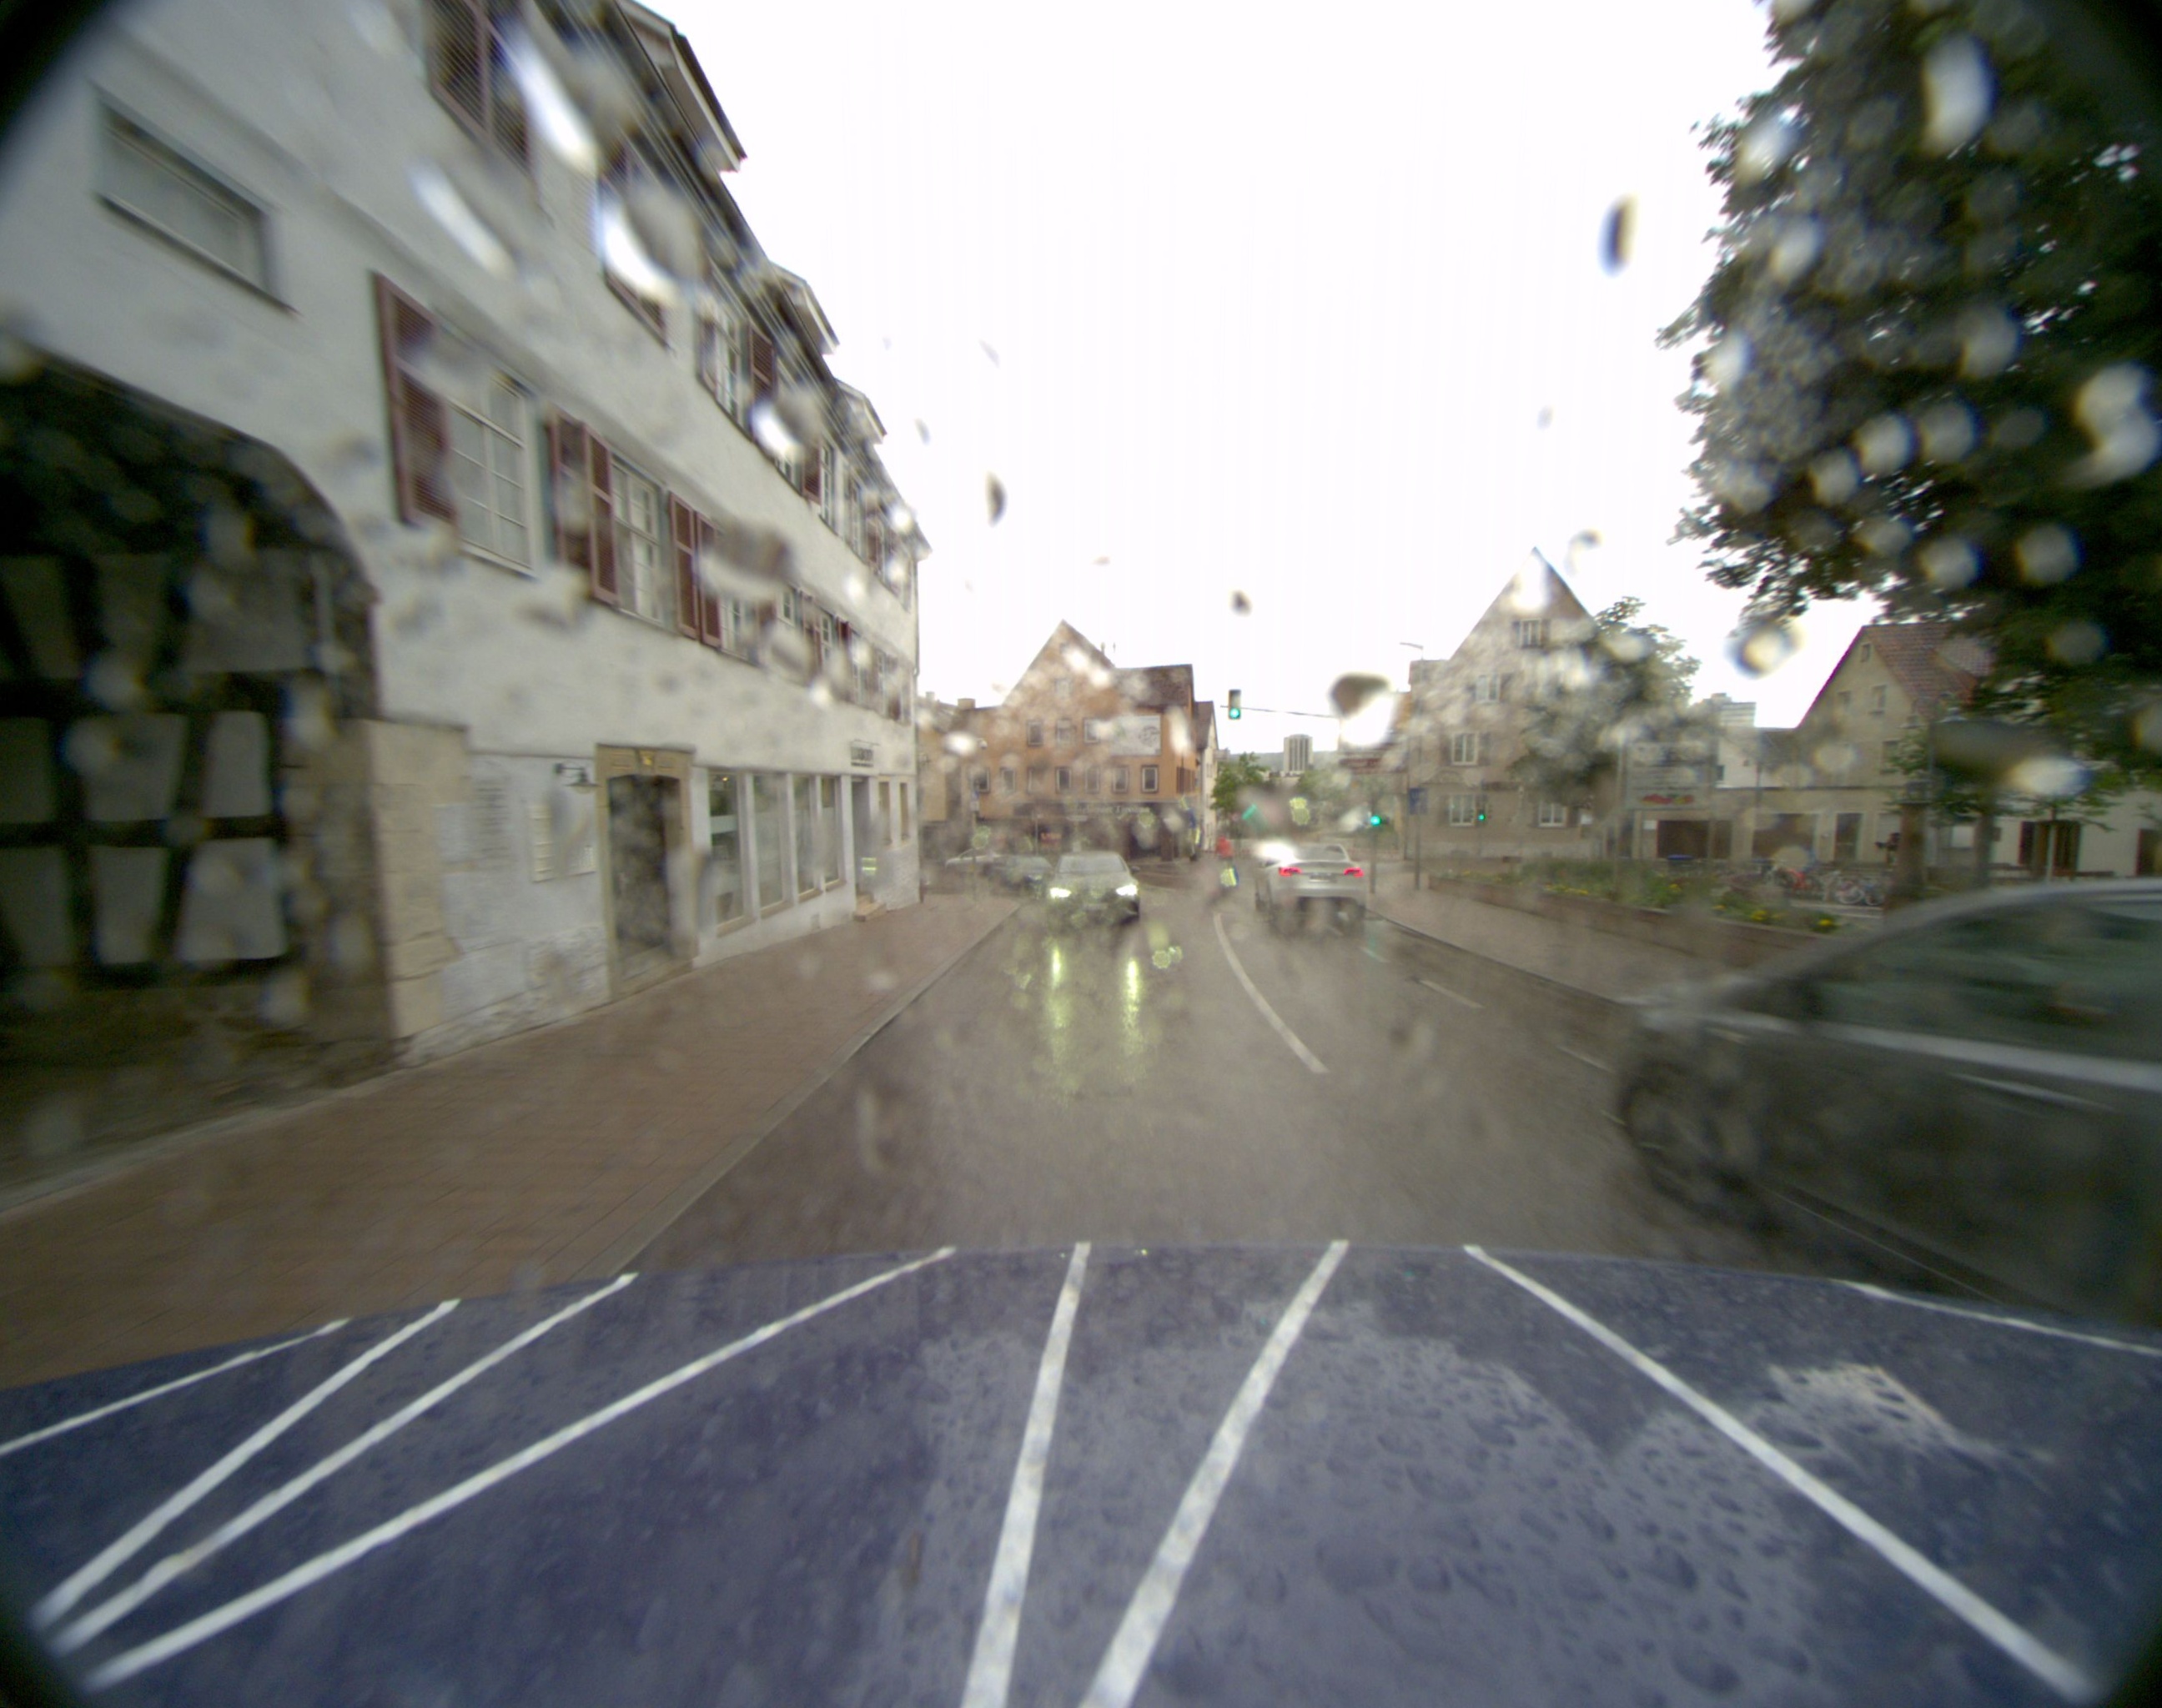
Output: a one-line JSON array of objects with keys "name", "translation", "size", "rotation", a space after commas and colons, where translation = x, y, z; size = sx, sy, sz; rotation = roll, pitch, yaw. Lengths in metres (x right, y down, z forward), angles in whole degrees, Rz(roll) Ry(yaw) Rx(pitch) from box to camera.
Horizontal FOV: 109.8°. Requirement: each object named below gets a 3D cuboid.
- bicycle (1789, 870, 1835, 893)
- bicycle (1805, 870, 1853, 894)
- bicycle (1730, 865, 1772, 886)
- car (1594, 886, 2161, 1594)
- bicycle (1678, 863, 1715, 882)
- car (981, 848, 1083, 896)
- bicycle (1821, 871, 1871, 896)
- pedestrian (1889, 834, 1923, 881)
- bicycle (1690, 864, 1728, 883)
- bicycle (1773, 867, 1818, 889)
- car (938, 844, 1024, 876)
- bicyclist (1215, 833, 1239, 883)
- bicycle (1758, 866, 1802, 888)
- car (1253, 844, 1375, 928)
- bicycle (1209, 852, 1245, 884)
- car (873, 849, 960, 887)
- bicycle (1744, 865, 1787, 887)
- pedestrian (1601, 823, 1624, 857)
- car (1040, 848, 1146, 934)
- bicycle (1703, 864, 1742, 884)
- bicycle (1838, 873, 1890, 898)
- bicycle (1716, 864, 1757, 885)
[{"name": "bicycle", "translation": [19.725, 0.736, 20.507], "size": [0.853, 0.602, 0.407], "rotation": [0, 1, 1]}, {"name": "bicycle", "translation": [19.704, 0.746, 20.017], "size": [0.853, 0.602, 0.407], "rotation": [0, 1, 1]}, {"name": "bicycle", "translation": [19.705, 0.631, 22.344], "size": [0.853, 0.602, 0.407], "rotation": [0, 1, 1]}, {"name": "car", "translation": [3.212, 0.909, 1.848], "size": [1.612, 1.463, 3.586], "rotation": [0, 1, 3]}, {"name": "bicycle", "translation": [19.679, 0.593, 24.301], "size": [0.853, 0.602, 0.407], "rotation": [0, 1, 1]}, {"name": "car", "translation": [-1.869, 0.623, 27.595], "size": [1.972, 1.598, 4.373], "rotation": [-1, 0, -29]}, {"name": "bicycle", "translation": [19.651, 0.757, 19.526], "size": [0.853, 0.602, 0.407], "rotation": [0, 1, 1]}, {"name": "pedestrian", "translation": [35.348, 0.128, 32.572], "size": [0.675, 2.002, 0.707], "rotation": [0, 2, 14]}, {"name": "bicycle", "translation": [19.672, 0.608, 23.796], "size": [0.853, 0.602, 0.407], "rotation": [0, 1, 1]}, {"name": "bicycle", "translation": [19.719, 0.661, 20.972], "size": [0.853, 0.602, 0.407], "rotation": [0, 1, 1]}, {"name": "car", "translation": [-5.417, 0.280, 41.052], "size": [4.370, 1.598, 1.973], "rotation": [1, 2, 33]}, {"name": "bicyclist", "translation": [5.715, 0.139, 29.709], "size": [0.691, 1.923, 0.569], "rotation": [-3, 2, -8]}, {"name": "bicycle", "translation": [19.688, 0.645, 21.413], "size": [0.853, 0.602, 0.407], "rotation": [0, 1, 1]}, {"name": "car", "translation": [5.004, 0.588, 16.936], "size": [1.966, 1.598, 4.385], "rotation": [1, 1, 9]}, {"name": "bicycle", "translation": [5.716, 0.515, 29.848], "size": [0.666, 1.174, 2.134], "rotation": [-3, 1, -10]}, {"name": "car", "translation": [-7.742, 0.607, 35.490], "size": [1.972, 1.598, 4.370], "rotation": [-2, 1, -43]}, {"name": "bicycle", "translation": [19.697, 0.640, 21.879], "size": [0.853, 0.602, 0.407], "rotation": [0, 1, 1]}, {"name": "pedestrian", "translation": [26.532, -0.711, 37.924], "size": [0.705, 1.701, 0.677], "rotation": [0, 2, 15]}, {"name": "car", "translation": [0.196, 0.684, 16.683], "size": [1.967, 1.549, 4.621], "rotation": [-1, 1, -1]}, {"name": "bicycle", "translation": [19.682, 0.616, 23.325], "size": [0.853, 0.602, 0.407], "rotation": [0, 1, 1]}, {"name": "bicycle", "translation": [19.645, 0.786, 19.071], "size": [0.853, 0.602, 0.407], "rotation": [0, 1, 1]}, {"name": "bicycle", "translation": [19.699, 0.624, 22.837], "size": [0.853, 0.602, 0.407], "rotation": [0, 1, 1]}]
